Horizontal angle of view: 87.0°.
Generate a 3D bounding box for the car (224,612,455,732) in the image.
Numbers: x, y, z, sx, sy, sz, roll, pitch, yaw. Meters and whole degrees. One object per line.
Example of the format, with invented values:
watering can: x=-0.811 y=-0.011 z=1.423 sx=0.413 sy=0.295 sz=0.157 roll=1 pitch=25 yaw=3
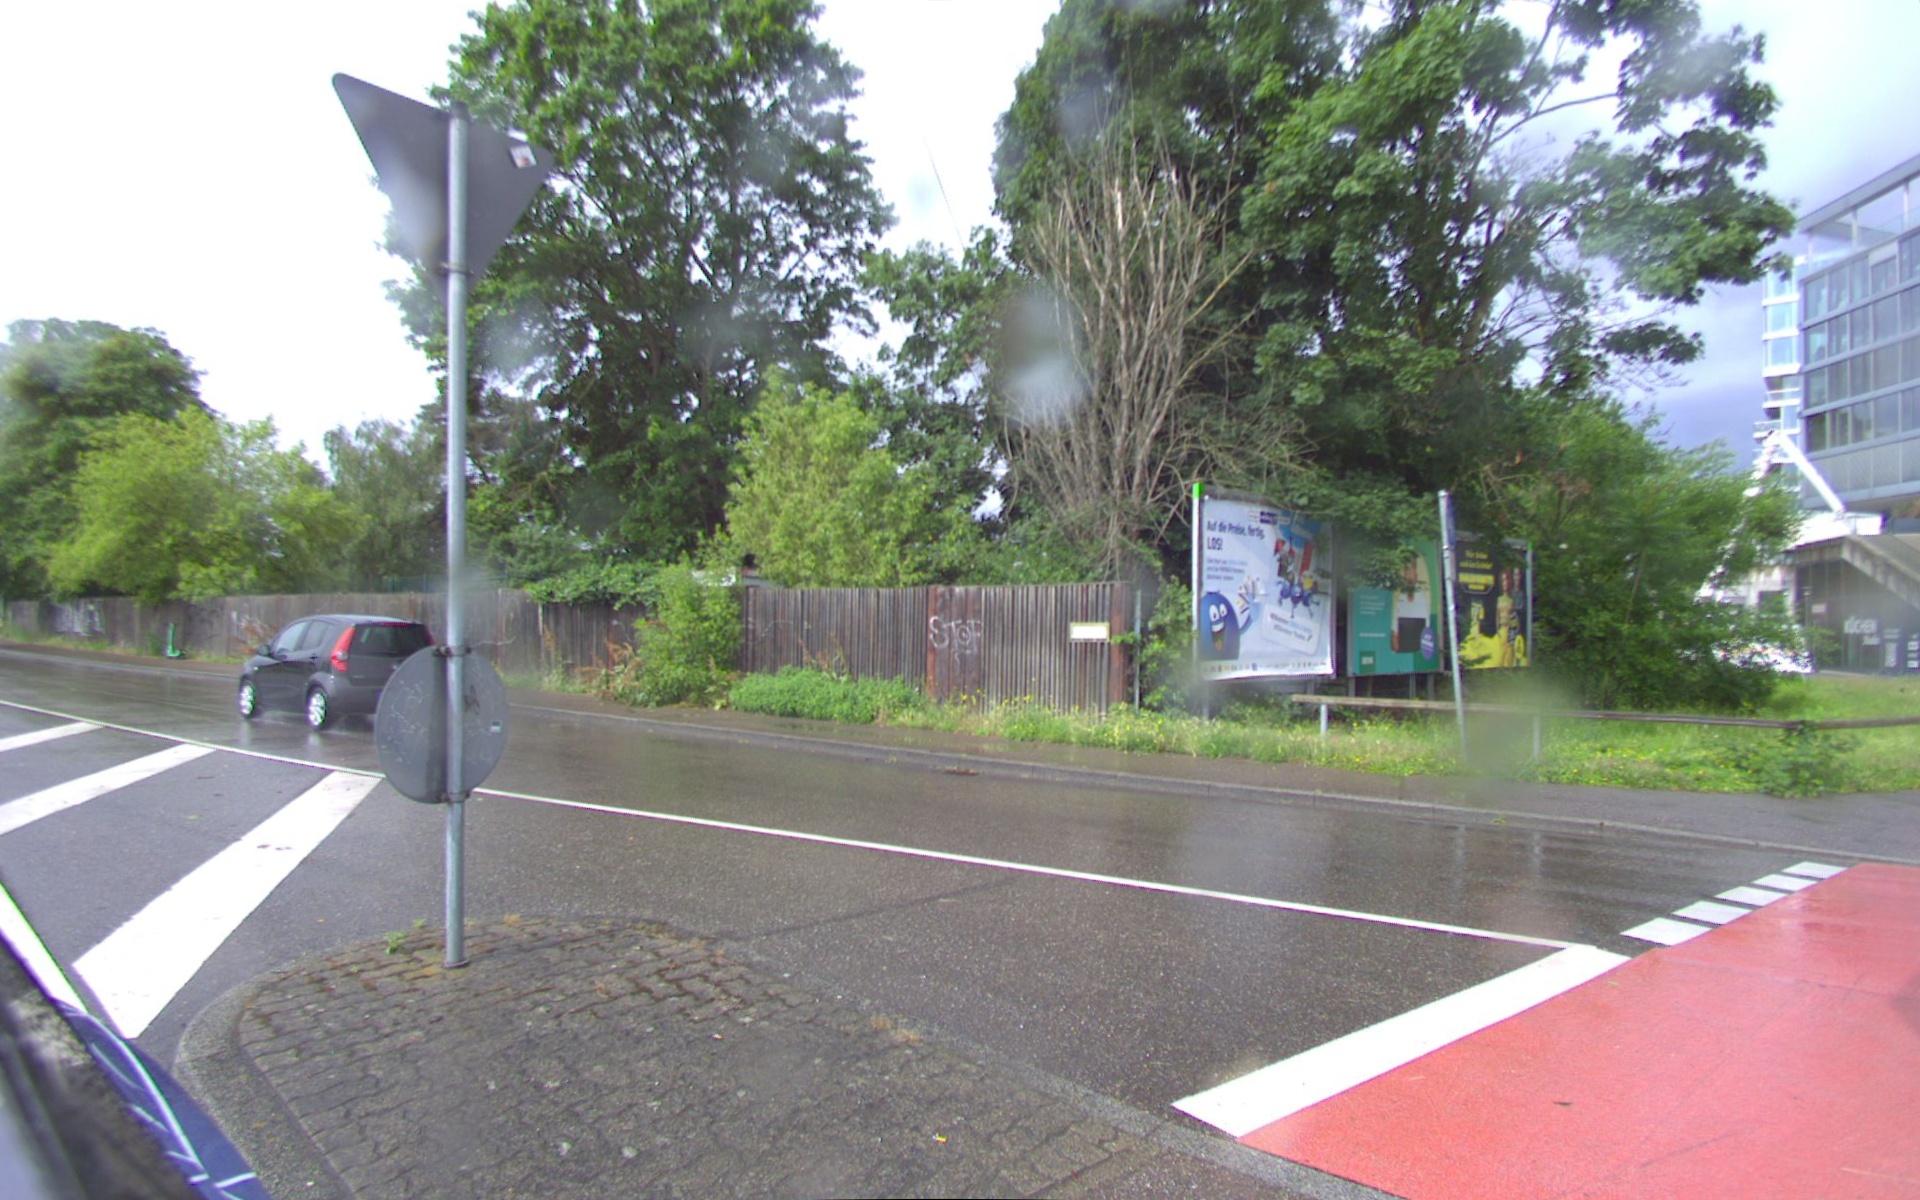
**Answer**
car: x=-9.046 y=1.001 z=14.697 sx=3.450 sy=1.545 sz=1.614 roll=-2 pitch=-4 yaw=36
